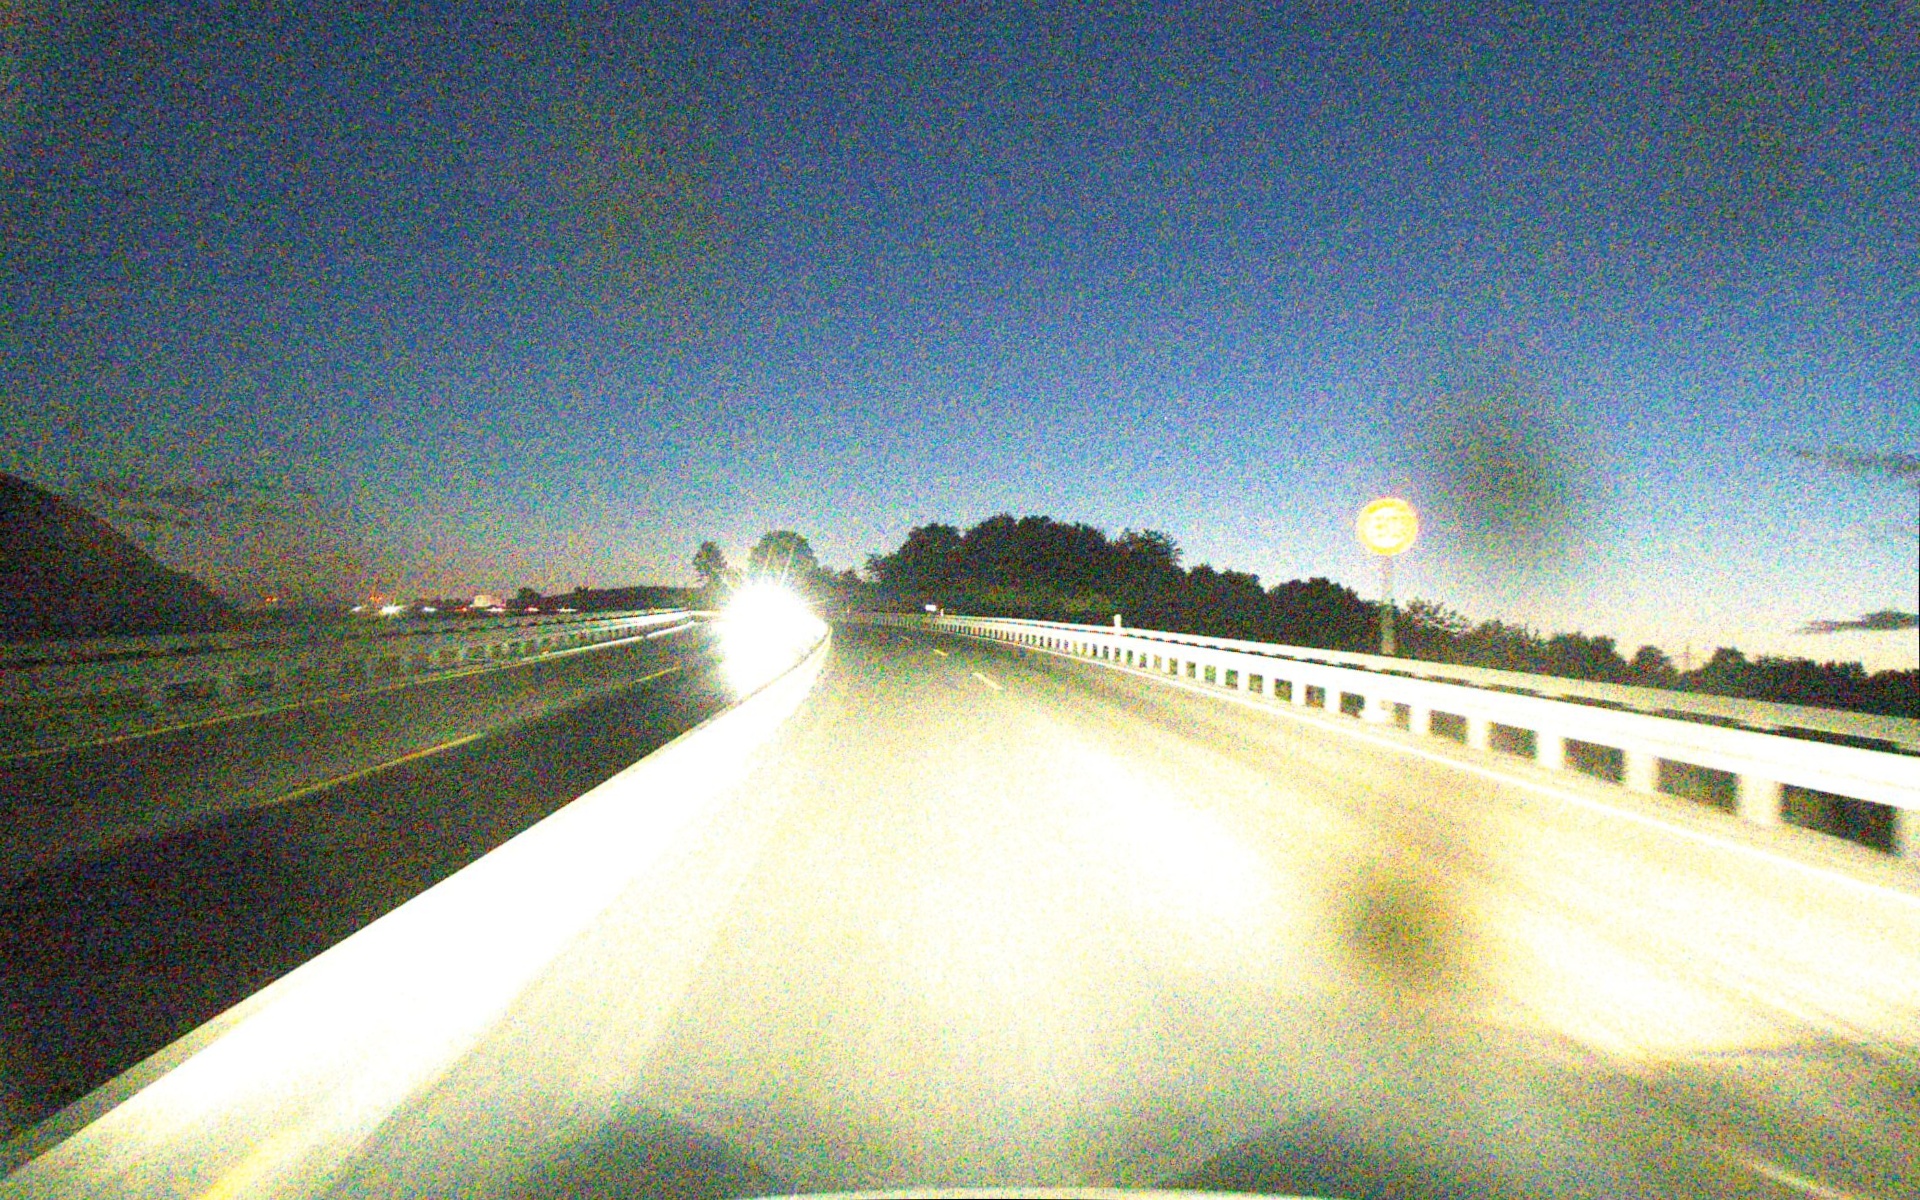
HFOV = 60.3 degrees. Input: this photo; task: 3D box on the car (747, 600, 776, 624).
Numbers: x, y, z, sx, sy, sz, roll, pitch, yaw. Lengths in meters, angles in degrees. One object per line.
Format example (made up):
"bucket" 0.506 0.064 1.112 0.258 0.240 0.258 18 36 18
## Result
"car" -13.341 0.844 111.137 1.785 1.542 4.513 0 -1 -9
